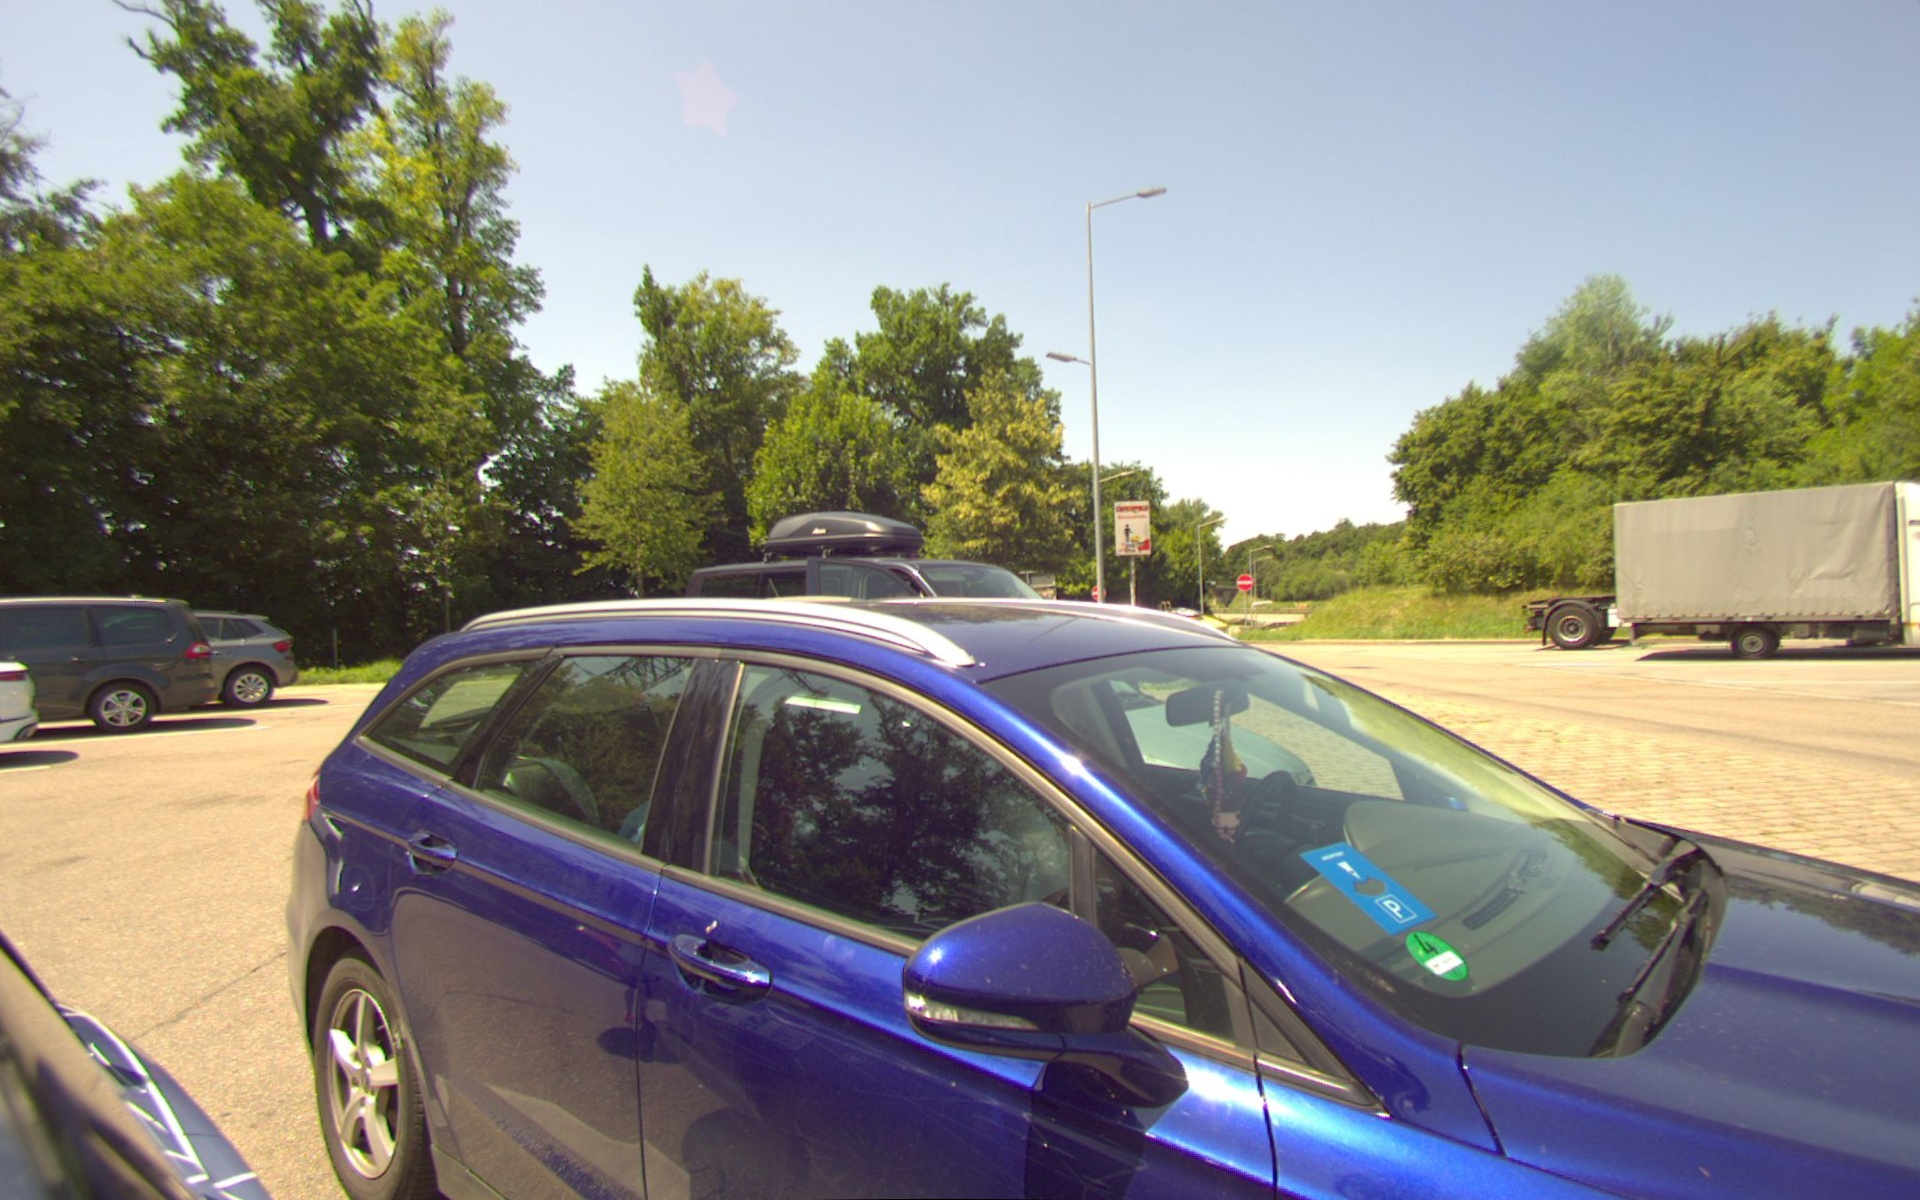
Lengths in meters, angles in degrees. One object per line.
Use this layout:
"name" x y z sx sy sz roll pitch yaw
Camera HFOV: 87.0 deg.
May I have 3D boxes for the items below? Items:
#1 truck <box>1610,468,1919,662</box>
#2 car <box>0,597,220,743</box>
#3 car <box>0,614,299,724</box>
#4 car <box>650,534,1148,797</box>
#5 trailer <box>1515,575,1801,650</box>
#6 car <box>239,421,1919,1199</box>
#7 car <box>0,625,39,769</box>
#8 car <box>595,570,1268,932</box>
"truck" 16.712 -0.620 18.851 7.308 3.258 2.294 -5 -2 43
"car" -11.712 0.835 12.592 3.830 1.703 1.883 0 -2 -45
"car" -12.608 0.971 15.632 3.753 1.488 1.743 0 -1 -45
"car" -0.730 0.533 9.423 4.426 1.875 2.022 -2 -1 40
"trailer" 16.332 0.344 23.924 5.393 1.608 1.576 -2 -1 41
"car" 0.242 0.650 2.090 4.427 1.455 1.763 -2 -1 40
"car" -10.958 0.943 9.204 3.753 1.377 1.804 0 -1 -45
"car" -0.363 0.650 5.812 3.739 1.424 1.587 -2 -1 40
